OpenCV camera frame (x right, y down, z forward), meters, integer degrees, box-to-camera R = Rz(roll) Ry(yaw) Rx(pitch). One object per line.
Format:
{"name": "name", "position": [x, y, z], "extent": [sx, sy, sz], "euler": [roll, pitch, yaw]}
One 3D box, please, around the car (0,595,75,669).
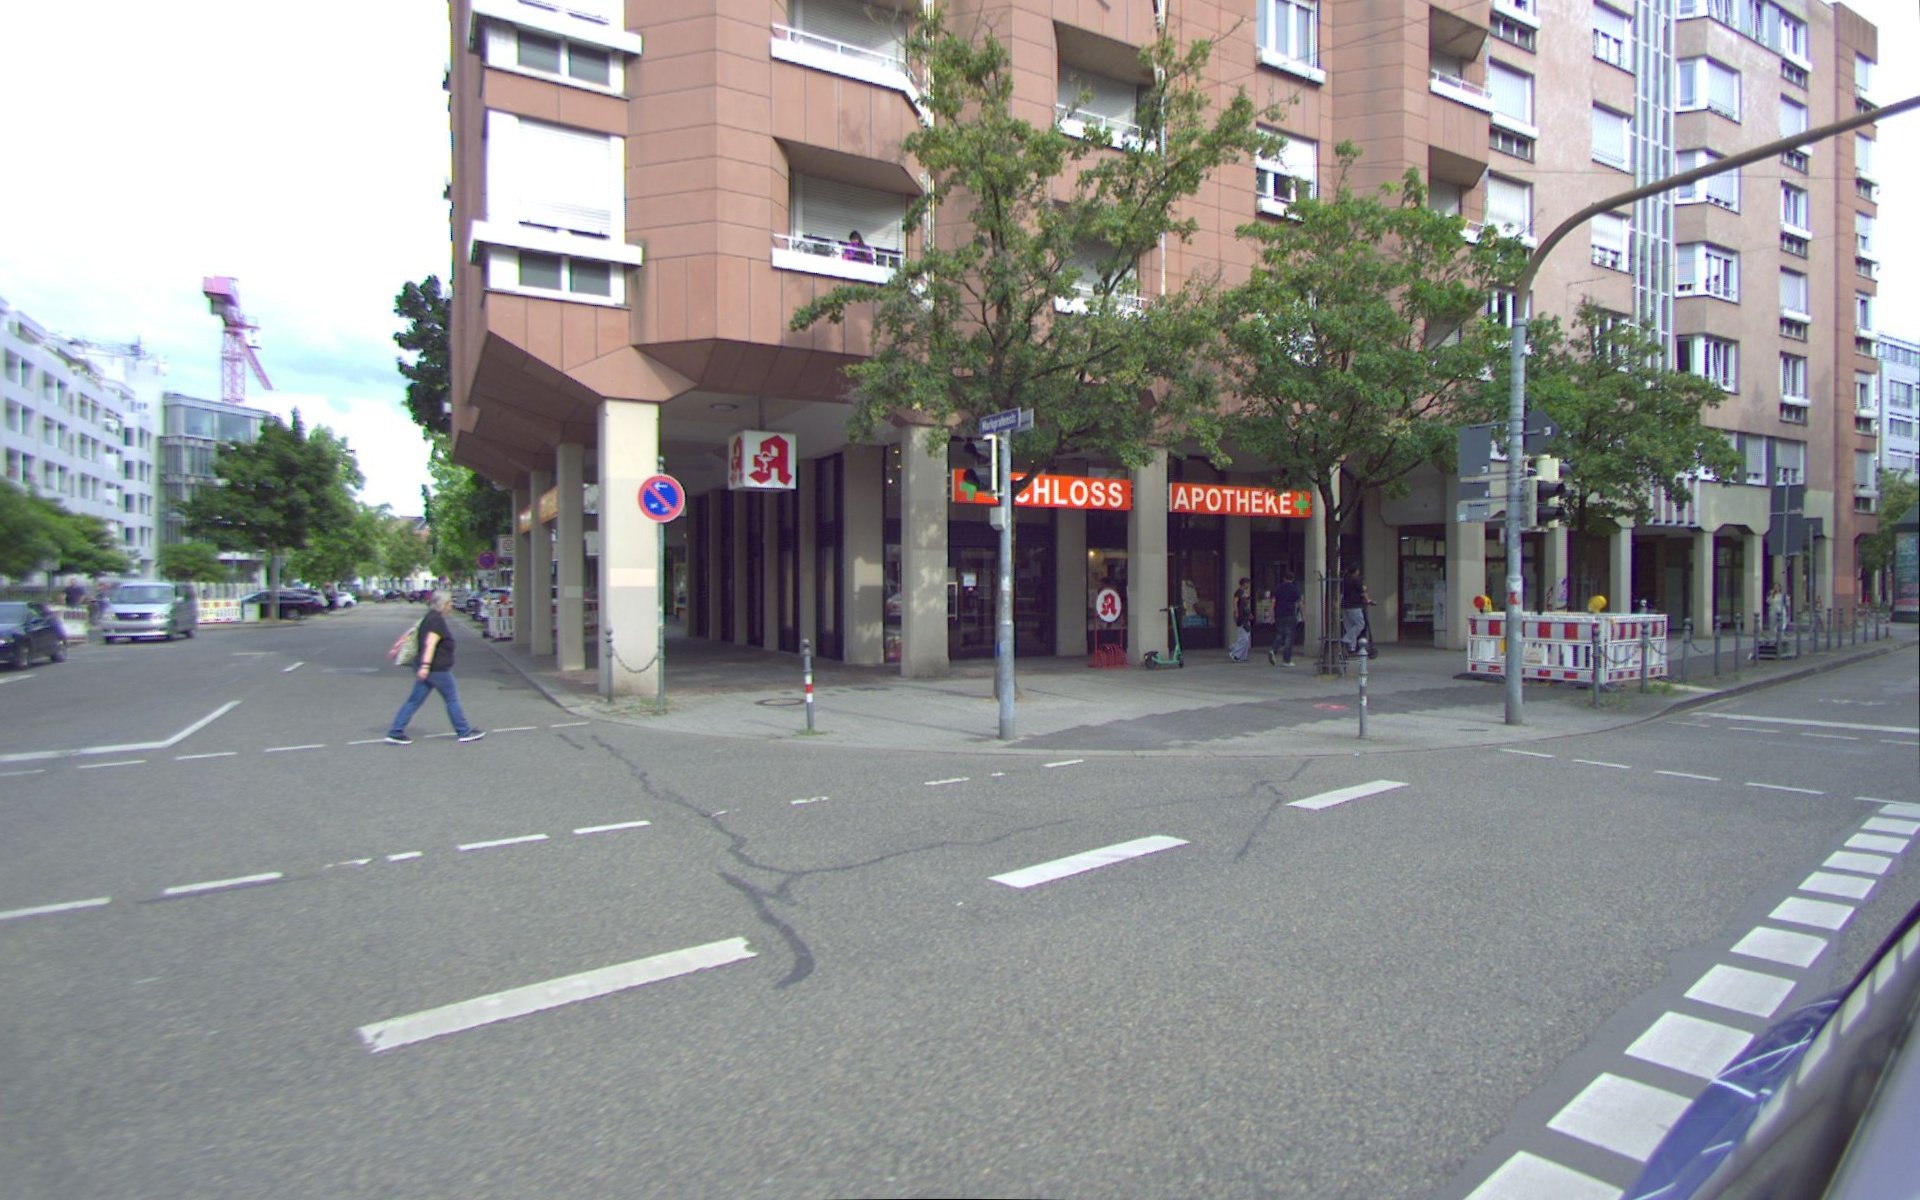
{"name": "car", "position": [-20.458, 0.662, 21.393], "extent": [1.691, 1.422, 3.986], "euler": [-2, 2, -27]}

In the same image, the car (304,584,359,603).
{"name": "car", "position": [-53.809, -0.571, 86.644], "extent": [3.925, 1.523, 1.728], "euler": [-1, 1, -36]}

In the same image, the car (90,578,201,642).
{"name": "car", "position": [-26.698, 0.264, 33.336], "extent": [1.946, 1.924, 4.692], "euler": [-1, 1, -27]}

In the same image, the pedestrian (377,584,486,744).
{"name": "pedestrian", "position": [-5.440, 0.619, 10.408], "extent": [0.928, 1.557, 0.678], "euler": [-1, 1, -33]}

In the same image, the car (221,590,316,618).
{"name": "car", "position": [-37.987, 0.175, 55.633], "extent": [4.240, 1.422, 1.836], "euler": [-1, 1, -36]}

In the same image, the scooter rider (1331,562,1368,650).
{"name": "scooter rider", "position": [7.858, 0.107, 20.418], "extent": [0.542, 1.742, 0.464], "euler": [-1, 0, -34]}

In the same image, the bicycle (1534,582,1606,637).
{"name": "bicycle", "position": [12.998, 0.189, 21.544], "extent": [1.769, 1.132, 0.614], "euler": [-1, 1, -33]}

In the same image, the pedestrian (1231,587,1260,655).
{"name": "pedestrian", "position": [5.689, 0.417, 20.184], "extent": [0.476, 1.340, 0.487], "euler": [0, 0, 6]}

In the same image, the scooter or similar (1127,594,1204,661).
{"name": "scooter or similar", "position": [3.824, 0.497, 18.791], "extent": [1.378, 1.184, 0.556], "euler": [-1, 1, -31]}

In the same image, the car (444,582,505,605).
{"name": "car", "position": [-36.643, -0.501, 76.447], "extent": [3.923, 1.698, 1.729], "euler": [-1, 1, -34]}

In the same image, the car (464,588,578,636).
{"name": "car", "position": [-17.282, 0.425, 40.029], "extent": [1.829, 1.698, 3.966], "euler": [0, 1, 25]}

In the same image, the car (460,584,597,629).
{"name": "car", "position": [-15.984, 0.190, 37.716], "extent": [1.837, 1.576, 4.403], "euler": [0, 1, 36]}

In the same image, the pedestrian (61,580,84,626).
{"name": "pedestrian", "position": [-34.787, 0.107, 39.692], "extent": [0.547, 1.815, 0.565], "euler": [-1, 0, -29]}

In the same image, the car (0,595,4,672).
{"name": "car", "position": [-18.027, 0.632, 16.694], "extent": [1.960, 1.610, 4.849], "euler": [-3, 2, -27]}

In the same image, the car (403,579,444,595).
{"name": "car", "position": [-60.511, -1.465, 114.243], "extent": [3.923, 1.698, 1.729], "euler": [-1, 1, -34]}

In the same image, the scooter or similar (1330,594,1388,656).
{"name": "scooter or similar", "position": [8.137, 0.488, 20.625], "extent": [1.305, 1.221, 0.475], "euler": [-1, 1, -36]}

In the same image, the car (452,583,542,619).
{"name": "car", "position": [-23.439, 0.022, 51.380], "extent": [1.829, 1.698, 3.966], "euler": [0, 1, 25]}

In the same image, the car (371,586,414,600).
{"name": "car", "position": [-63.950, -0.812, 114.051], "extent": [3.934, 1.523, 1.724], "euler": [-1, 1, -44]}

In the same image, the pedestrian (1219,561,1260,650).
{"name": "pedestrian", "position": [5.804, 0.110, 21.031], "extent": [0.644, 1.822, 0.554], "euler": [0, 0, -10]}

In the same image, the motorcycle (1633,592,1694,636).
{"name": "motorcycle", "position": [19.717, 0.385, 28.371], "extent": [1.865, 1.170, 0.619], "euler": [0, 2, -29]}

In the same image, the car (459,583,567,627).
{"name": "car", "position": [-18.832, 0.163, 42.792], "extent": [1.829, 1.698, 3.966], "euler": [0, 1, 25]}

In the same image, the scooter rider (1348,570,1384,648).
{"name": "scooter rider", "position": [8.344, 0.177, 20.778], "extent": [0.554, 1.576, 0.462], "euler": [-1, 0, -36]}

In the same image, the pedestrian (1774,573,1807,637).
{"name": "pedestrian", "position": [22.129, 0.124, 26.967], "extent": [0.810, 1.670, 0.545], "euler": [-1, 0, -40]}

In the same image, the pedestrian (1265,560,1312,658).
{"name": "pedestrian", "position": [6.245, 0.166, 19.238], "extent": [0.644, 1.822, 0.554], "euler": [-1, 0, -29]}

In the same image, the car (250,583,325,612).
{"name": "car", "position": [-43.097, -0.179, 64.856], "extent": [3.925, 1.789, 1.728], "euler": [-1, 1, -36]}

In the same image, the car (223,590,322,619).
{"name": "car", "position": [-36.349, 0.221, 53.536], "extent": [4.241, 1.422, 1.836], "euler": [-1, 1, -36]}
